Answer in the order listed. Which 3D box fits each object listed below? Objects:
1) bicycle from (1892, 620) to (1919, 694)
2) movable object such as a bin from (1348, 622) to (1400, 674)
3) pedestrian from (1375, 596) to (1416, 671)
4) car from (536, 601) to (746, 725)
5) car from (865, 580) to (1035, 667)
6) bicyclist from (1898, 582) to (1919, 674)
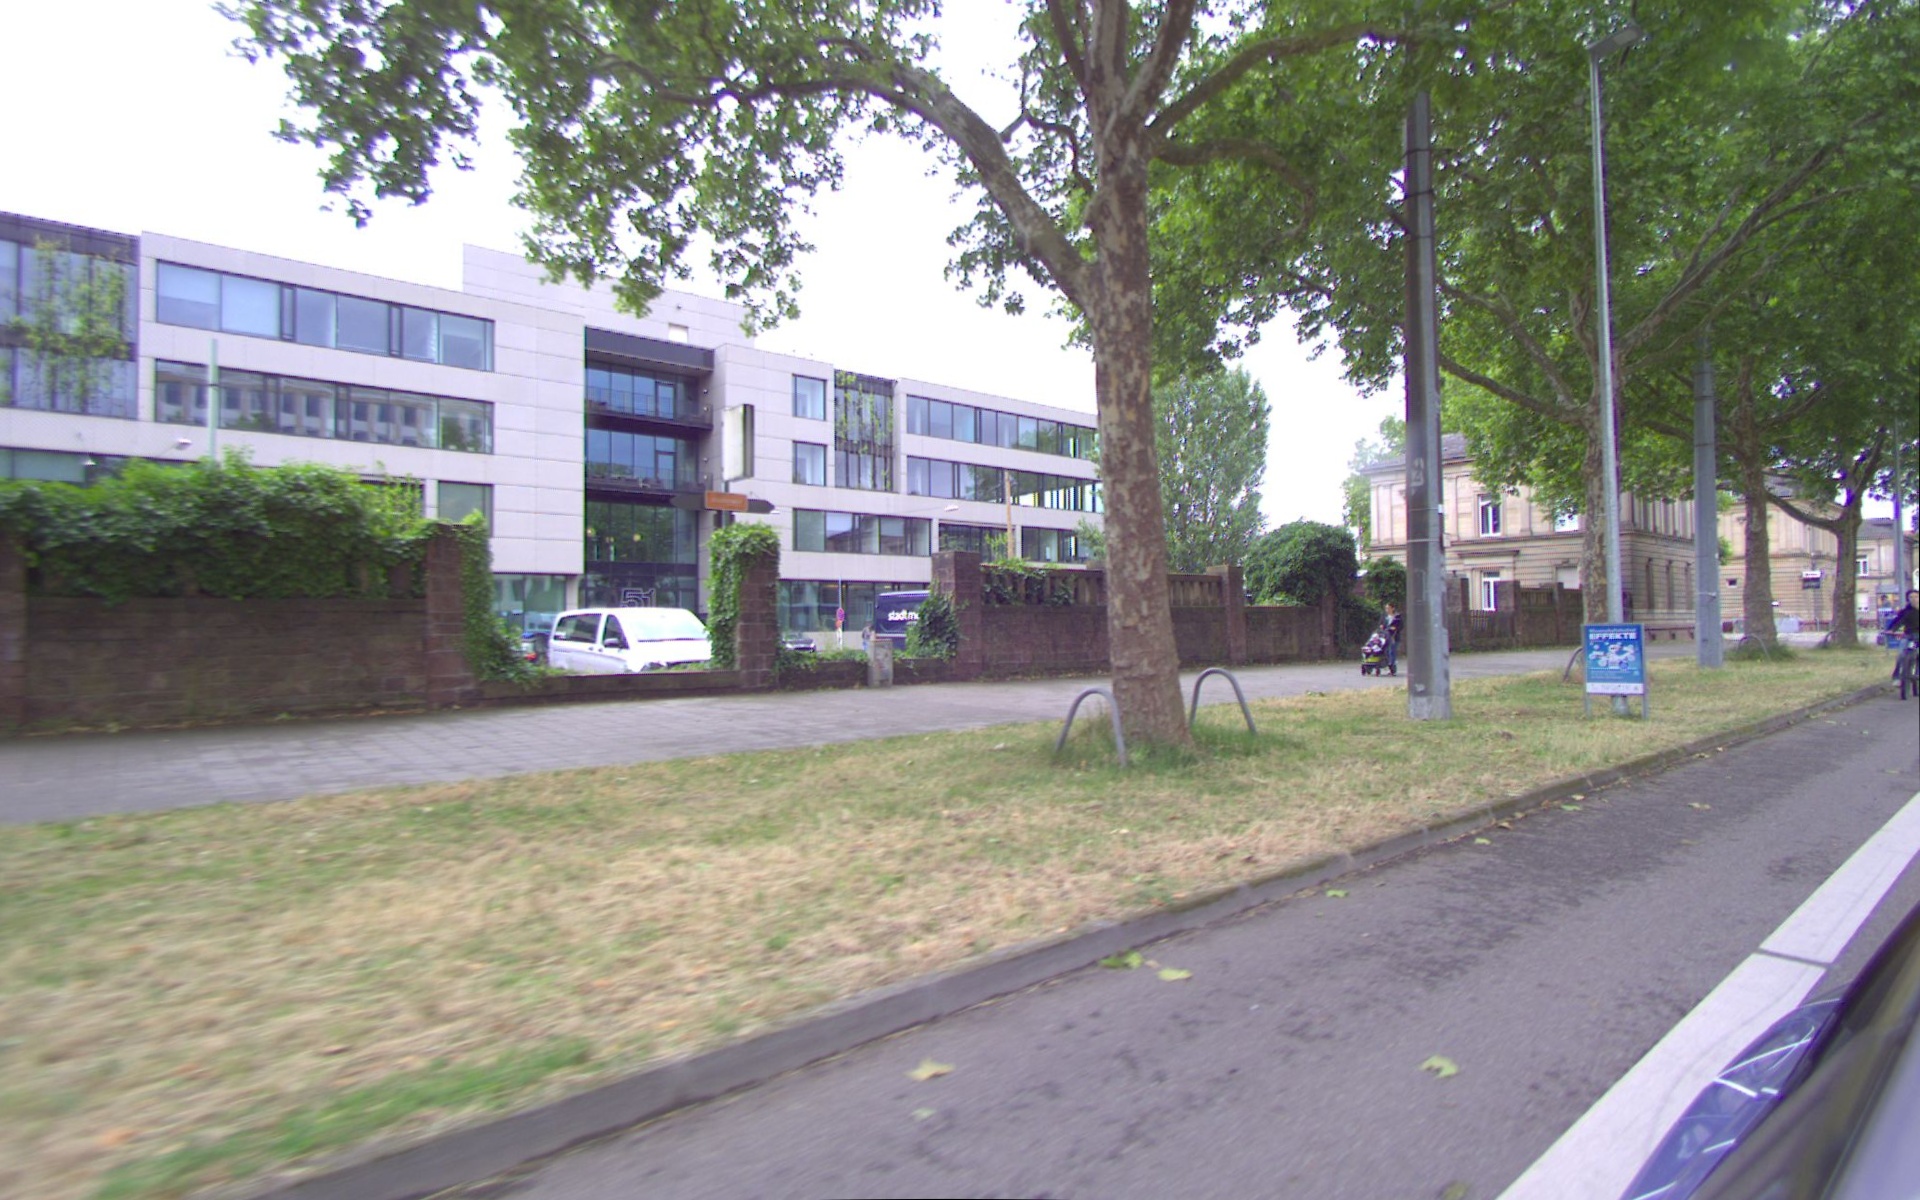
[{"bbox_3d":[16.317,0.934,17.085,2.244,1.164,0.653,0,-1,-43],"label":"bicycle"},{"bbox_3d":[9.203,1.056,22.514,0.995,1.126,0.613,1,-2,-35],"label":"movable object such as a bin"},{"bbox_3d":[9.926,0.753,23.051,0.657,1.653,0.560,0,-1,-34],"label":"pedestrian"},{"bbox_3d":[-6.205,1.085,19.288,1.966,2.039,4.881,0,-1,-42],"label":"car"},{"bbox_3d":[-0.334,0.582,26.008,1.966,2.039,4.352,0,-1,-42],"label":"car"},{"bbox_3d":[16.412,0.472,17.164,0.653,1.550,0.641,0,-1,-42],"label":"bicyclist"}]
